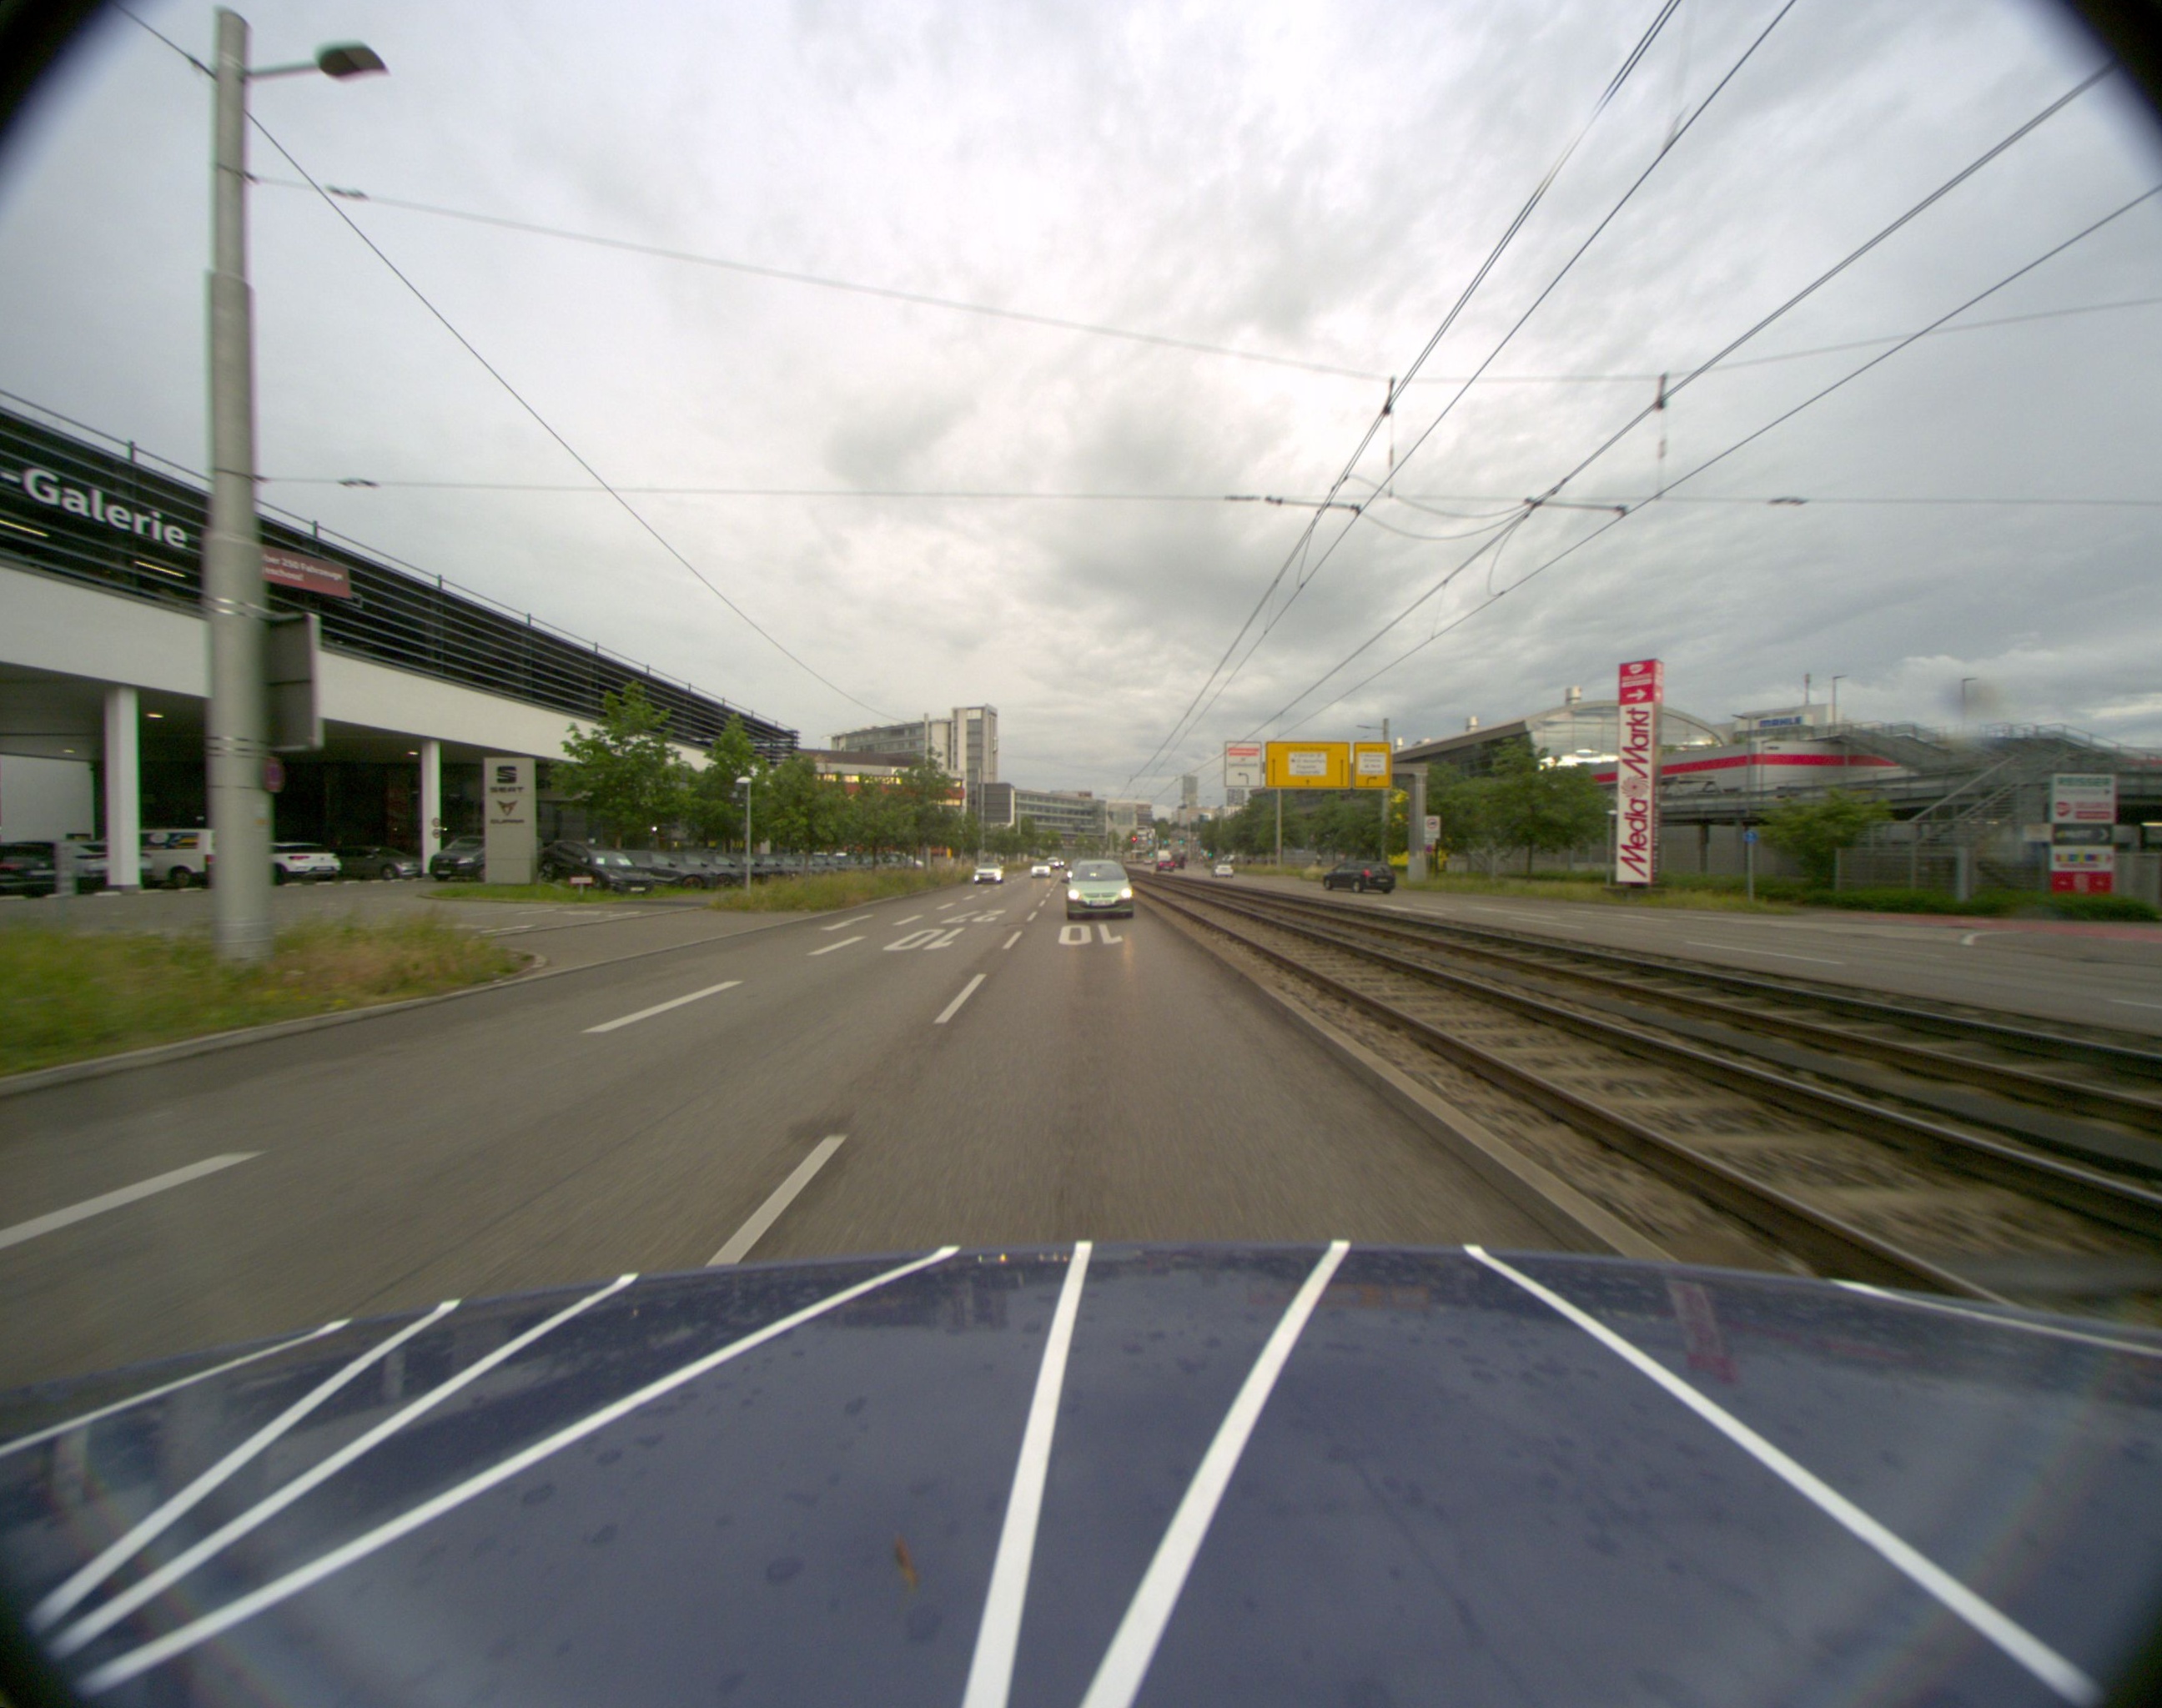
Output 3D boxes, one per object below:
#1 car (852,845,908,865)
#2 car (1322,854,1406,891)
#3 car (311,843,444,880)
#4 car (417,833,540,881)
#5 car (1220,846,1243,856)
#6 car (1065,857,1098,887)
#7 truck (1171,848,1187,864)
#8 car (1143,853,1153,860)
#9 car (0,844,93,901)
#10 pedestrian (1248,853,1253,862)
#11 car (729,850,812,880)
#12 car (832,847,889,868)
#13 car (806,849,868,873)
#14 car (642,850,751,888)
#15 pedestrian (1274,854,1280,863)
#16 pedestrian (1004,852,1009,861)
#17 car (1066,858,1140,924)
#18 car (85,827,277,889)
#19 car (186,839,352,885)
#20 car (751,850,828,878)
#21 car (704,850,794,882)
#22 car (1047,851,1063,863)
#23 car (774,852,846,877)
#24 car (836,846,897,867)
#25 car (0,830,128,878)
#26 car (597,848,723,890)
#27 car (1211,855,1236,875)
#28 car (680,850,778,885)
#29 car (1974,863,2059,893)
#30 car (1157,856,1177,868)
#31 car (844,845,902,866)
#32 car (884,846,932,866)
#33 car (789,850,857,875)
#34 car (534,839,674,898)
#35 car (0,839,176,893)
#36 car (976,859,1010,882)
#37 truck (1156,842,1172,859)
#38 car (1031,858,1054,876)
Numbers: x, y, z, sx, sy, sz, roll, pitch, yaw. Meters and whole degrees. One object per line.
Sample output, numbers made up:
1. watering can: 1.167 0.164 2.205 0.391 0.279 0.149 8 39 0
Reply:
1. car: -17.375 0.118 65.820 4.500 1.610 1.819 1 0 -9
2. car: 14.178 0.896 38.355 2.001 1.725 4.207 2 0 -12
3. car: -30.286 0.319 32.796 4.043 1.504 1.723 0 1 -2
4. car: -26.001 0.127 33.043 1.892 1.927 4.429 0 0 -1
5. car: 37.238 -0.684 188.023 5.065 2.318 1.998 0 0 -12
6. car: 0.065 0.971 42.985 1.762 1.535 3.714 -2 0 1
7. truck: 16.113 0.376 125.208 2.243 2.550 7.016 0 0 5
8. car: 15.430 0.523 175.432 1.810 1.490 4.441 3 0 1
9. car: -29.575 0.453 20.292 3.997 1.437 1.764 0 1 -1
10. pedestrian: 28.946 0.644 130.055 0.684 1.554 0.627 -2 1 0
11. car: -17.202 0.599 42.282 4.157 1.560 1.906 1 0 -20
12. car: -16.881 0.284 58.292 4.058 1.493 1.685 1 0 -12
13. car: -17.047 0.480 53.073 4.061 1.567 1.730 1 0 -20
14. car: -16.962 0.676 33.657 4.159 1.553 1.865 1 0 -27
15. pedestrian: 30.341 0.717 117.606 0.609 1.431 0.745 -3 1 -5
16. pedestrian: -15.950 0.637 162.913 0.683 1.889 0.677 -3 1 -22
17. car: 0.533 0.919 20.786 1.762 1.489 4.137 -2 0 0
18. car: -30.012 0.135 25.445 4.037 1.964 1.944 0 1 -1
19. car: -29.773 0.279 27.957 3.997 1.623 1.904 0 1 -1
20. car: -17.198 0.610 45.033 4.157 1.519 1.828 1 0 -20
21. car: -17.135 0.617 39.328 4.158 1.560 1.822 1 0 -25
22. car: -3.712 0.436 109.440 1.889 1.584 3.983 -1 0 5
23. car: -17.013 0.630 47.769 4.157 1.450 1.790 1 0 -20
24. car: -17.082 0.184 60.688 4.502 1.560 1.819 1 0 -12
25. car: -45.528 -0.051 33.404 1.999 2.002 4.097 0 2 0
26. car: -17.000 0.610 30.850 4.342 1.603 1.865 1 0 -29
27. car: 12.559 0.983 67.300 1.602 1.528 2.949 2 2 0
28. car: -16.878 0.654 36.551 4.158 1.595 1.822 1 0 -25
29. car: 46.299 1.167 37.685 1.659 1.275 4.116 -2 1 36
30. car: 10.203 0.917 90.067 1.807 1.420 4.236 1 0 0
31. car: -17.262 0.130 63.322 4.502 1.653 1.819 1 0 -12
32. car: -17.444 0.196 76.695 4.504 1.980 1.818 1 0 -18
33. car: -17.138 0.575 50.487 4.157 1.525 1.790 1 0 -20
34. car: -17.020 0.474 27.078 4.709 1.865 1.828 2 0 23
35. car: -30.270 0.340 22.761 3.997 1.528 1.904 0 1 -1
36. car: -6.149 1.151 53.569 1.878 1.485 3.836 -1 0 1
37. truck: 17.656 -0.725 162.358 2.733 3.339 7.150 2 3 2
38. car: -3.475 1.134 68.881 1.818 1.584 3.836 0 0 0
